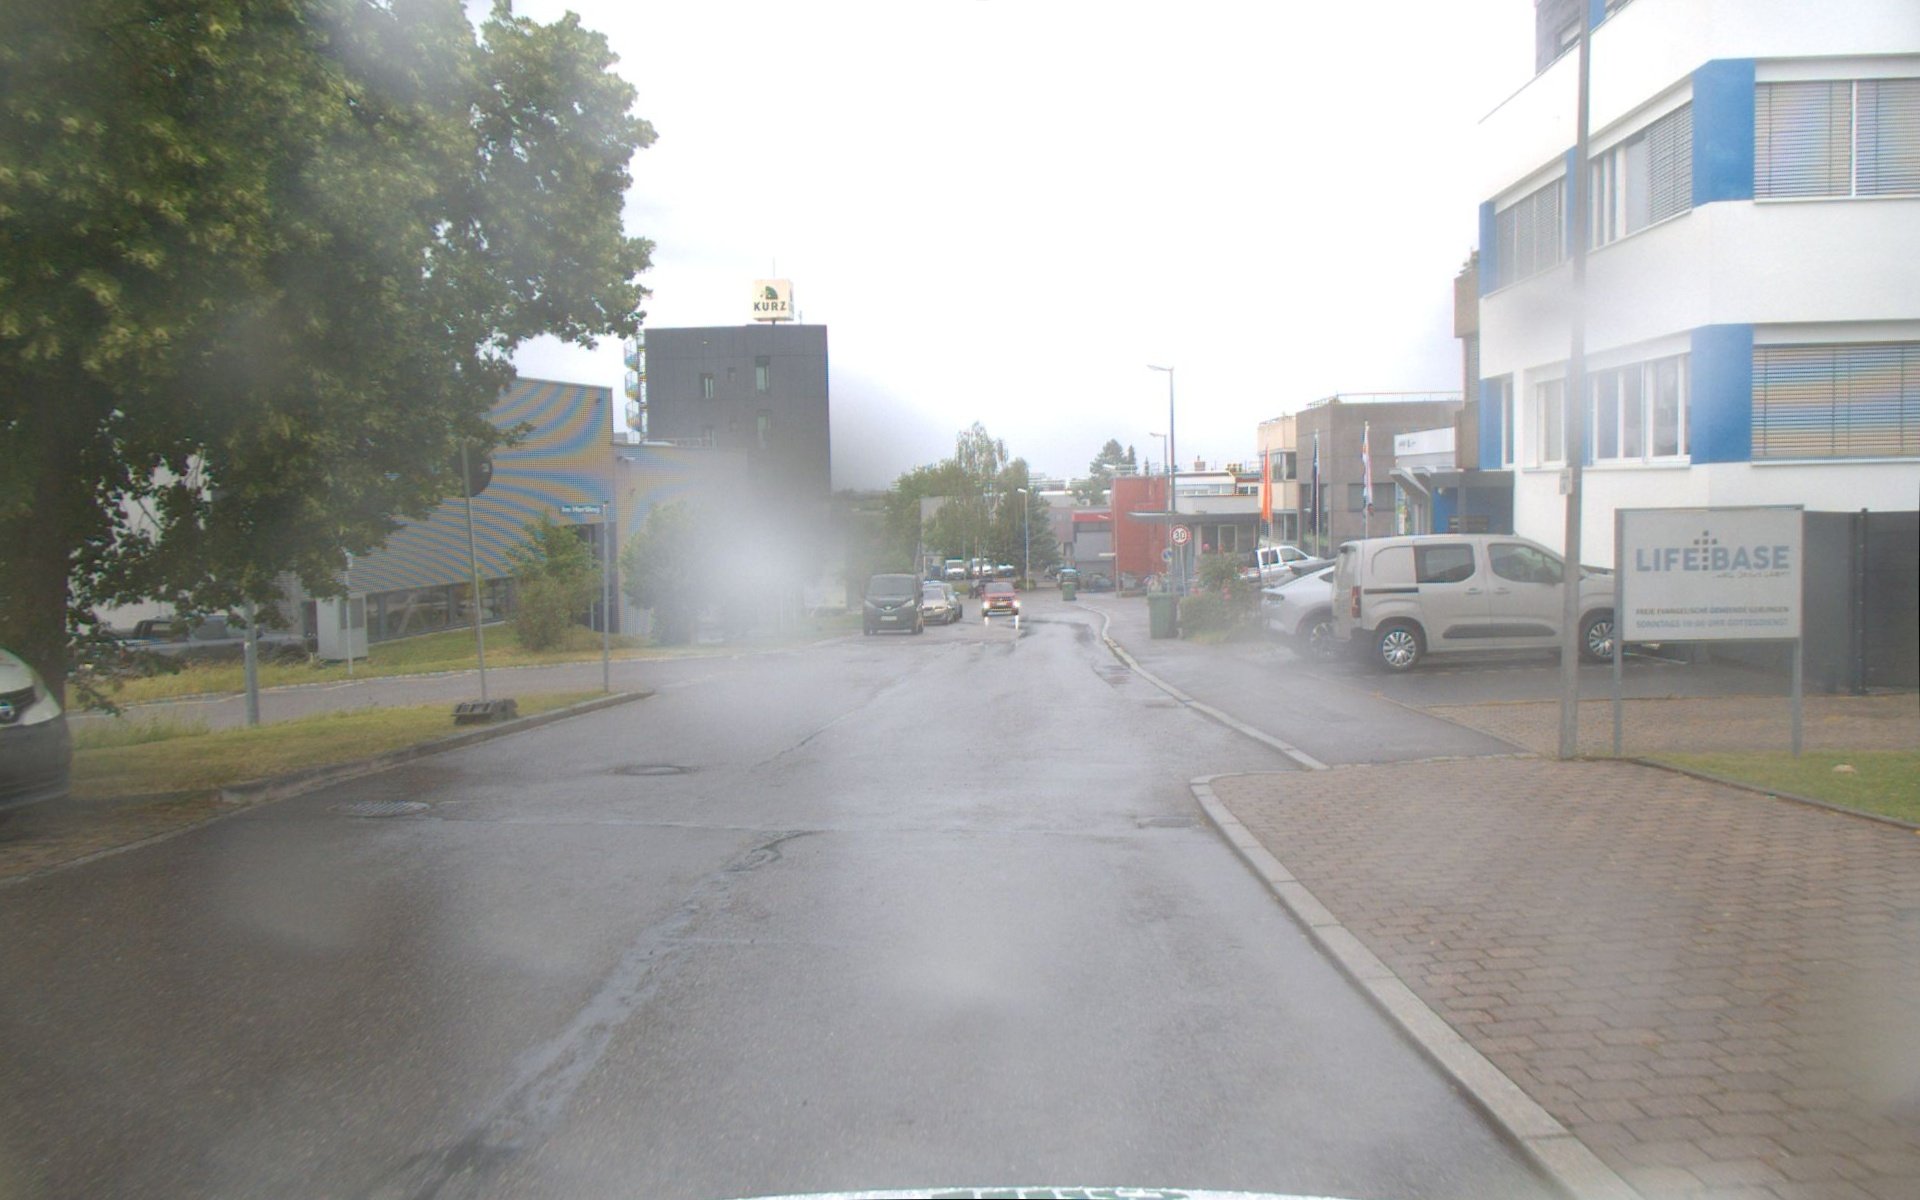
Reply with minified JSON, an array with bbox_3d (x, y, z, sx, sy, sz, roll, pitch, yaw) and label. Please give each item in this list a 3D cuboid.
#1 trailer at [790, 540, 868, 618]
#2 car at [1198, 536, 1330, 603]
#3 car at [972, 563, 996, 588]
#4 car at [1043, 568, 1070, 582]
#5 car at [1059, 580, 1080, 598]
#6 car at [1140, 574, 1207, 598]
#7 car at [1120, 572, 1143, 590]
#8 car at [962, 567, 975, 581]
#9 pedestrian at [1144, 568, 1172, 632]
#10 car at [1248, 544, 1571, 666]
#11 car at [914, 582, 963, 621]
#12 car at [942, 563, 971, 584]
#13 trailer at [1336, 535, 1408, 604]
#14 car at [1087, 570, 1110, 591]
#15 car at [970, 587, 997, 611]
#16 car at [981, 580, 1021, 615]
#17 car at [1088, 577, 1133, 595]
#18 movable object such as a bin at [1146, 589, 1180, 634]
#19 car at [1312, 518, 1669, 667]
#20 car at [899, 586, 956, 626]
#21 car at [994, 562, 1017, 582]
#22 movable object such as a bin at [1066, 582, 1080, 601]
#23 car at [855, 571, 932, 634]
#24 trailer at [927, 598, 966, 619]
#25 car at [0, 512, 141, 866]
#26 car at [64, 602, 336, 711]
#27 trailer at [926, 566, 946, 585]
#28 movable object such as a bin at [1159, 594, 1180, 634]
[{"bbox_3d":[-7.560,-1.178,95.214,4.110,4.276,1.995,-2,0,41],"label":"trailer"},{"bbox_3d":[13.330,-1.329,72.743,5.194,2.046,2.222,-10,0,2],"label":"car"},{"bbox_3d":[2.568,-2.642,179.123,2.150,2.502,3.995,-2,0,-6],"label":"car"},{"bbox_3d":[9.667,-2.510,166.032,2.497,1.375,1.241,-2,1,-3],"label":"car"},{"bbox_3d":[9.500,-0.968,143.867,1.662,1.501,4.001,-2,0,2],"label":"car"},{"bbox_3d":[12.781,-0.812,98.992,3.814,1.408,1.821,0,0,1],"label":"car"},{"bbox_3d":[14.906,-1.631,143.537,1.693,1.446,4.001,-2,0,2],"label":"car"},{"bbox_3d":[0.963,-2.912,184.785,1.265,1.449,2.544,-2,0,-4],"label":"car"},{"bbox_3d":[5.723,-0.004,47.755,0.721,1.798,0.809,-1,0,4],"label":"pedestrian"},{"bbox_3d":[6.974,0.065,26.063,4.502,1.565,2.080,-4,0,2],"label":"car"},{"bbox_3d":[-0.921,0.066,73.091,1.917,1.604,4.840,-3,0,1],"label":"car"},{"bbox_3d":[-0.403,-2.856,178.797,2.226,2.049,3.987,-2,0,-13],"label":"car"},{"bbox_3d":[15.477,-1.181,62.311,1.847,2.458,4.311,-2,2,4],"label":"trailer"},{"bbox_3d":[12.075,-1.703,144.487,1.703,1.682,4.001,-2,0,2],"label":"car"},{"bbox_3d":[1.795,-0.054,127.632,1.916,1.705,4.471,-2,0,-1],"label":"car"},{"bbox_3d":[1.988,-0.086,80.643,1.712,1.534,3.934,-4,0,-1],"label":"car"},{"bbox_3d":[11.465,-1.075,125.987,3.329,1.183,1.793,-2,1,4],"label":"car"},{"bbox_3d":[4.909,0.283,39.996,0.755,1.048,0.809,-1,0,4],"label":"movable object such as a bin"},{"bbox_3d":[7.247,-0.110,22.961,4.251,1.804,2.089,-2,0,1],"label":"car"},{"bbox_3d":[-1.251,0.218,66.720,1.915,1.486,5.249,-2,1,2],"label":"car"},{"bbox_3d":[4.973,-3.056,180.032,2.103,2.049,3.936,-2,0,-4],"label":"car"},{"bbox_3d":[7.059,-0.535,103.525,0.790,1.111,0.709,-2,1,-3],"label":"movable object such as a bin"},{"bbox_3d":[-2.035,0.060,52.090,1.875,1.863,4.850,-1,0,4],"label":"car"},{"bbox_3d":[-0.614,0.377,77.466,1.645,0.904,3.898,-2,0,1],"label":"trailer"},{"bbox_3d":[-7.330,0.563,9.595,4.209,1.939,1.863,-2,0,5],"label":"car"},{"bbox_3d":[-17.445,1.229,38.334,2.087,1.955,5.607,-1,3,26],"label":"car"},{"bbox_3d":[-2.678,-2.705,182.891,1.817,2.048,3.996,-2,1,-5],"label":"trailer"},{"bbox_3d":[5.270,0.342,41.585,0.462,0.984,0.515,-1,0,4],"label":"movable object such as a bin"}]
